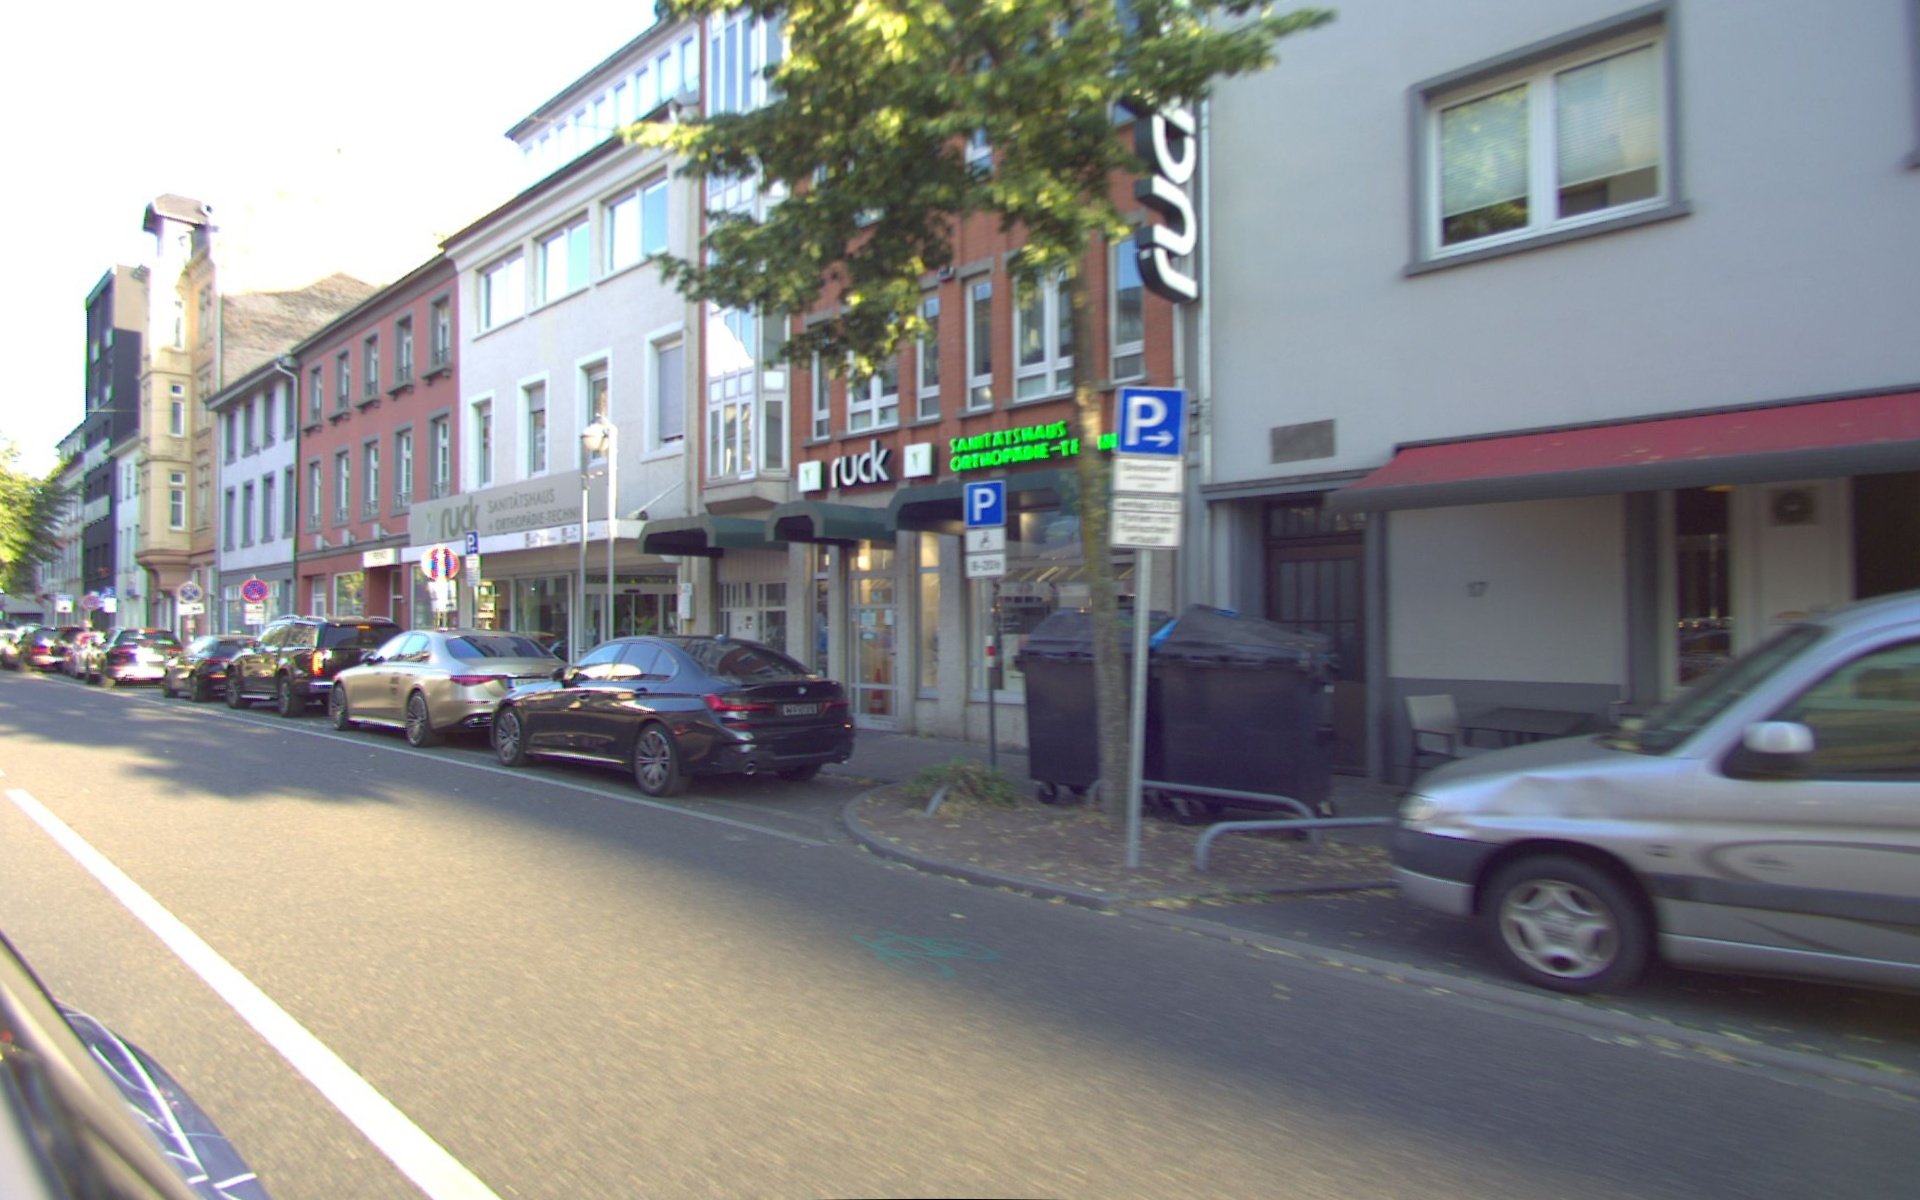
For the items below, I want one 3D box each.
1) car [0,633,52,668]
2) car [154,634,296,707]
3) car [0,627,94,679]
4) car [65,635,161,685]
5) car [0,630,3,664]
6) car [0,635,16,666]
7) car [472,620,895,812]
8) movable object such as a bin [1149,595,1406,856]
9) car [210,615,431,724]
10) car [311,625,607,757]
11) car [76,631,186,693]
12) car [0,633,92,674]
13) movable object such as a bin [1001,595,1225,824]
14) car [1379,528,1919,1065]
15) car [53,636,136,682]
[{"bbox_3d":[-44.108,2.302,46.007,1.956,1.594,3.864,-2,-3,36],"label":"car"},{"bbox_3d":[-16.783,1.539,23.034,4.216,1.522,1.747,-2,-3,42],"label":"car"},{"bbox_3d":[-33.574,1.916,37.032,4.211,1.766,2.030,-2,-3,38],"label":"car"},{"bbox_3d":[-26.543,1.847,31.680,3.866,1.475,1.747,-2,-3,42],"label":"car"},{"bbox_3d":[-57.907,2.714,57.976,2.052,1.998,4.143,-2,-3,36],"label":"car"},{"bbox_3d":[-53.980,2.711,54.685,1.994,1.689,4.081,-2,-3,38],"label":"car"},{"bbox_3d":[-2.969,1.008,10.280,4.636,1.522,1.895,-2,-3,41],"label":"car"},{"bbox_3d":[2.405,0.846,7.649,1.439,1.685,1.269,-2,1,39],"label":"movable object such as a bin"},{"bbox_3d":[-12.162,1.233,19.087,5.294,1.783,1.973,-2,-3,40],"label":"car"},{"bbox_3d":[-7.151,1.148,14.171,5.111,1.522,1.972,-2,-3,42],"label":"car"},{"bbox_3d":[-23.437,1.704,28.563,4.216,1.626,1.747,-2,-3,42],"label":"car"},{"bbox_3d":[-38.201,2.147,41.092,2.052,1.594,4.143,-2,-3,36],"label":"car"},{"bbox_3d":[1.300,0.840,8.559,1.368,1.685,1.268,-2,1,39],"label":"movable object such as a bin"},{"bbox_3d":[4.072,0.679,3.946,4.143,1.801,1.896,-2,-3,38],"label":"car"},{"bbox_3d":[-29.448,1.965,34.405,3.541,1.475,1.667,-2,-3,42],"label":"car"}]
